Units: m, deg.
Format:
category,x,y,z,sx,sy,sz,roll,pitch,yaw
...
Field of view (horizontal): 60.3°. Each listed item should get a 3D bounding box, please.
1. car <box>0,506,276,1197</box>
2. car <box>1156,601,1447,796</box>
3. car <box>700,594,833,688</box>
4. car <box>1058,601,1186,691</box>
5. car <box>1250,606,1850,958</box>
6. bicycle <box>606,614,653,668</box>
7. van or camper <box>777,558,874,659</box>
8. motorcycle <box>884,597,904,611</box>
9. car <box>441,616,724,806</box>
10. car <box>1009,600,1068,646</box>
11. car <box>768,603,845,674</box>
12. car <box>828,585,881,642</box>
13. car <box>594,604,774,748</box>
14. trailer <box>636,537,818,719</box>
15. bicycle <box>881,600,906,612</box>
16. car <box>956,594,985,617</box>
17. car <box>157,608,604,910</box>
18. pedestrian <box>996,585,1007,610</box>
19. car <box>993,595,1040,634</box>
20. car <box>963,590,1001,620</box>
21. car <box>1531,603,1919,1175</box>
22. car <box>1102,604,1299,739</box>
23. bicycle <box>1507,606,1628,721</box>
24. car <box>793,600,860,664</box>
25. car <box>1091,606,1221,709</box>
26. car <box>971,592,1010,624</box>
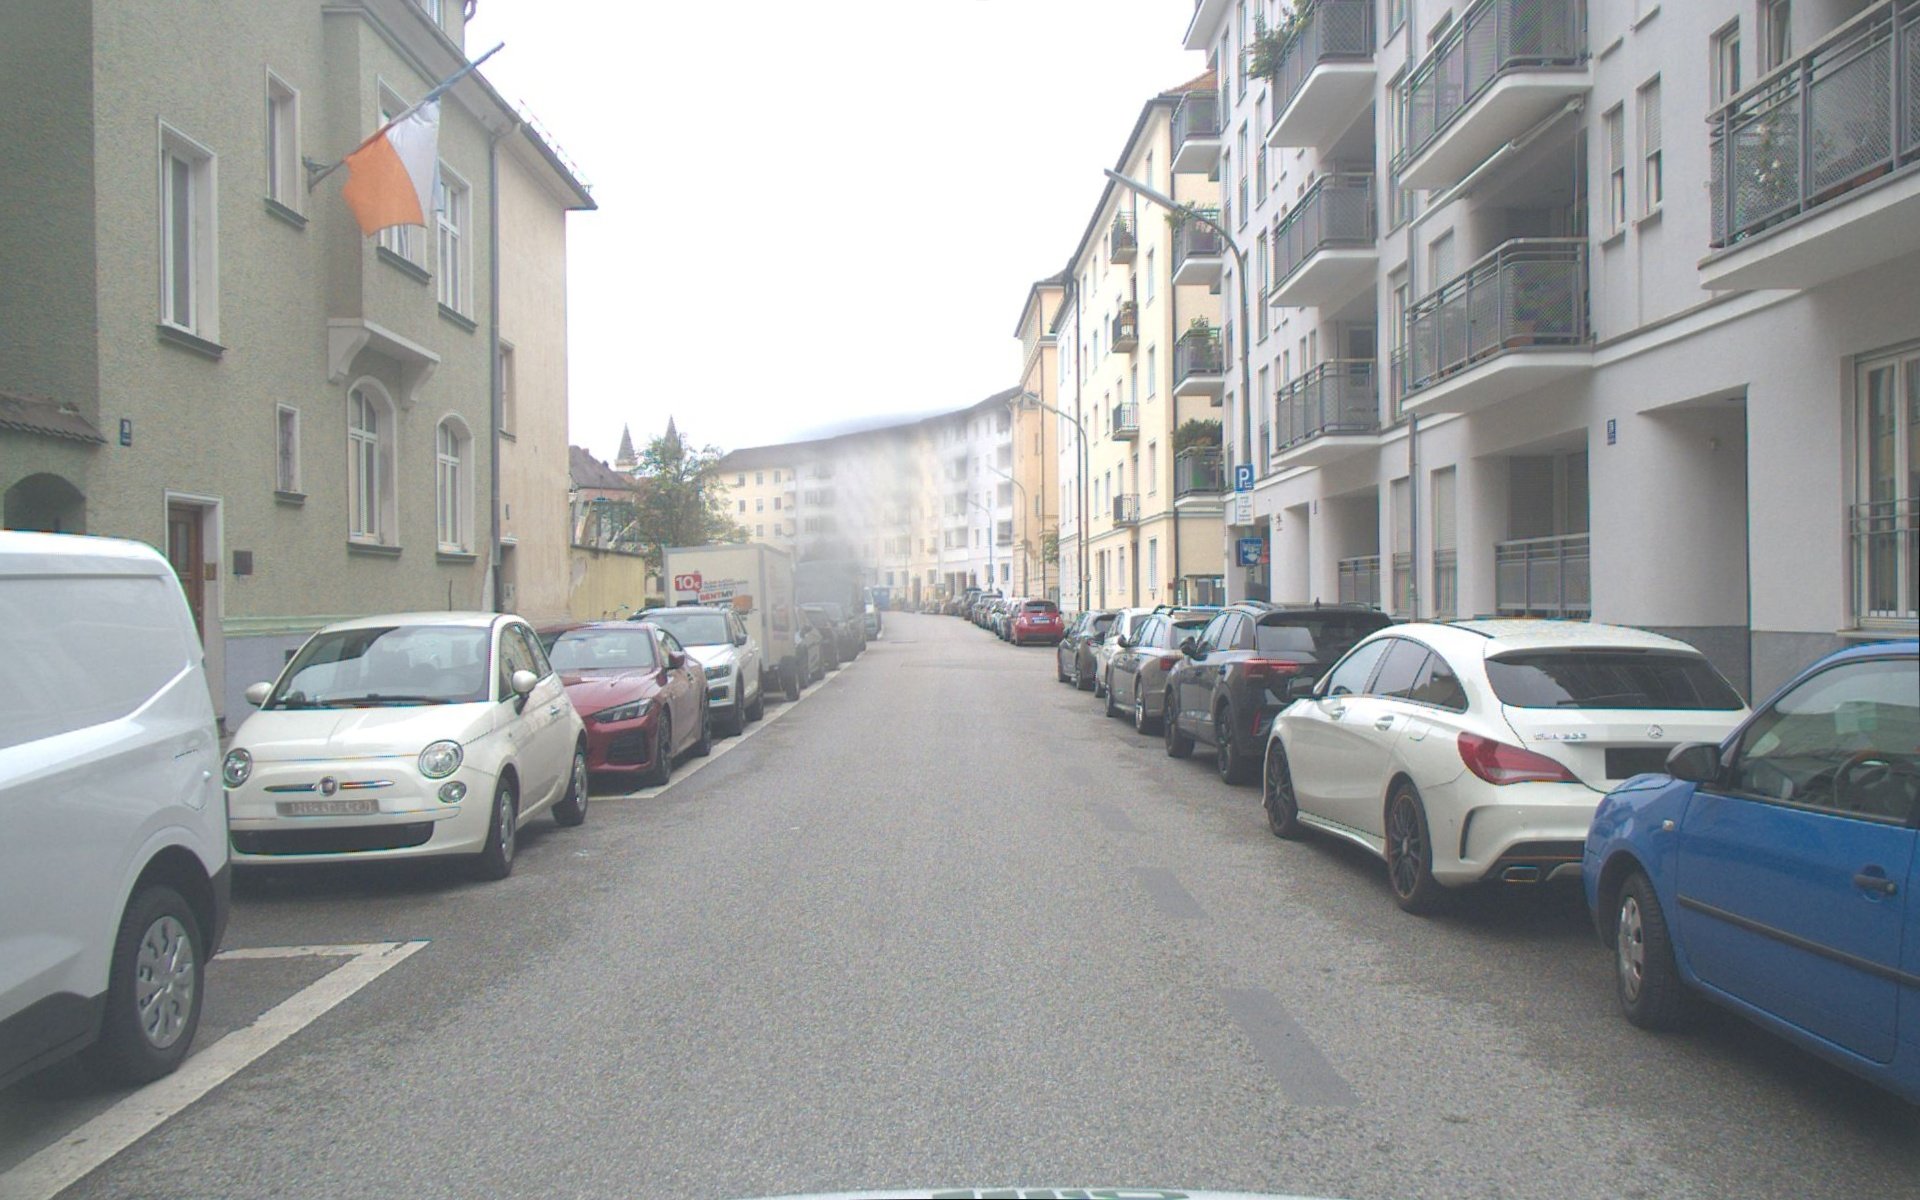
category,x,y,z,sx,sy,sz,roll,pitch,yaw
car,-3.333,0.675,3.933,1.680,1.786,4.249,-2,1,-1
car,3.031,0.809,15.534,1.800,1.559,4.020,1,0,-1
car,-3.628,0.720,31.919,1.825,1.568,5.092,-2,0,1
car,2.927,0.803,30.740,1.736,1.501,4.215,0,1,-3
car,2.964,0.805,9.394,1.631,1.493,4.373,1,0,-3
bicycle,-7.888,0.969,39.594,0.786,1.255,1.867,-1,0,-2
van or camper,-3.862,0.215,48.452,2.246,2.697,5.561,-2,0,0
motorcycle,-5.959,0.382,149.386,0.920,1.242,2.486,0,0,-26
car,-3.361,0.917,15.551,1.710,1.392,4.401,-2,1,-1
car,2.592,0.741,55.065,1.621,1.454,3.754,0,0,-3
car,-3.559,0.851,38.825,1.642,1.461,4.283,-2,0,-4
car,-3.956,0.462,61.505,1.877,1.994,4.957,0,1,-5
car,-3.405,0.873,21.078,1.645,1.557,4.106,-2,1,-1
trailer,-3.567,0.403,26.221,1.935,2.514,4.578,-3,0,2
bicycle,-6.347,0.583,157.511,2.205,1.088,0.912,0,0,-26
car,0.681,0.367,111.096,1.599,1.442,3.676,0,0,-5
car,-3.362,0.827,10.289,1.593,1.493,3.520,-1,0,-1
pedestrian,2.904,-0.176,115.800,0.605,1.719,0.919,-4,0,-2
car,2.380,0.596,70.541,1.618,1.570,3.990,0,0,-4
car,1.330,0.295,100.906,2.126,1.769,5.022,0,0,-2
car,3.296,0.767,5.030,1.681,1.448,3.718,1,0,-3
car,2.945,0.822,21.183,1.755,1.508,4.602,0,0,-1
bicycle,6.504,0.653,17.794,0.557,1.117,1.810,-4,0,0
car,-3.489,0.795,43.428,1.620,1.523,3.905,-2,0,-5
car,3.079,0.864,26.622,1.584,1.492,3.746,0,0,-1
car,1.636,0.399,90.650,1.809,1.692,4.495,0,0,-3
